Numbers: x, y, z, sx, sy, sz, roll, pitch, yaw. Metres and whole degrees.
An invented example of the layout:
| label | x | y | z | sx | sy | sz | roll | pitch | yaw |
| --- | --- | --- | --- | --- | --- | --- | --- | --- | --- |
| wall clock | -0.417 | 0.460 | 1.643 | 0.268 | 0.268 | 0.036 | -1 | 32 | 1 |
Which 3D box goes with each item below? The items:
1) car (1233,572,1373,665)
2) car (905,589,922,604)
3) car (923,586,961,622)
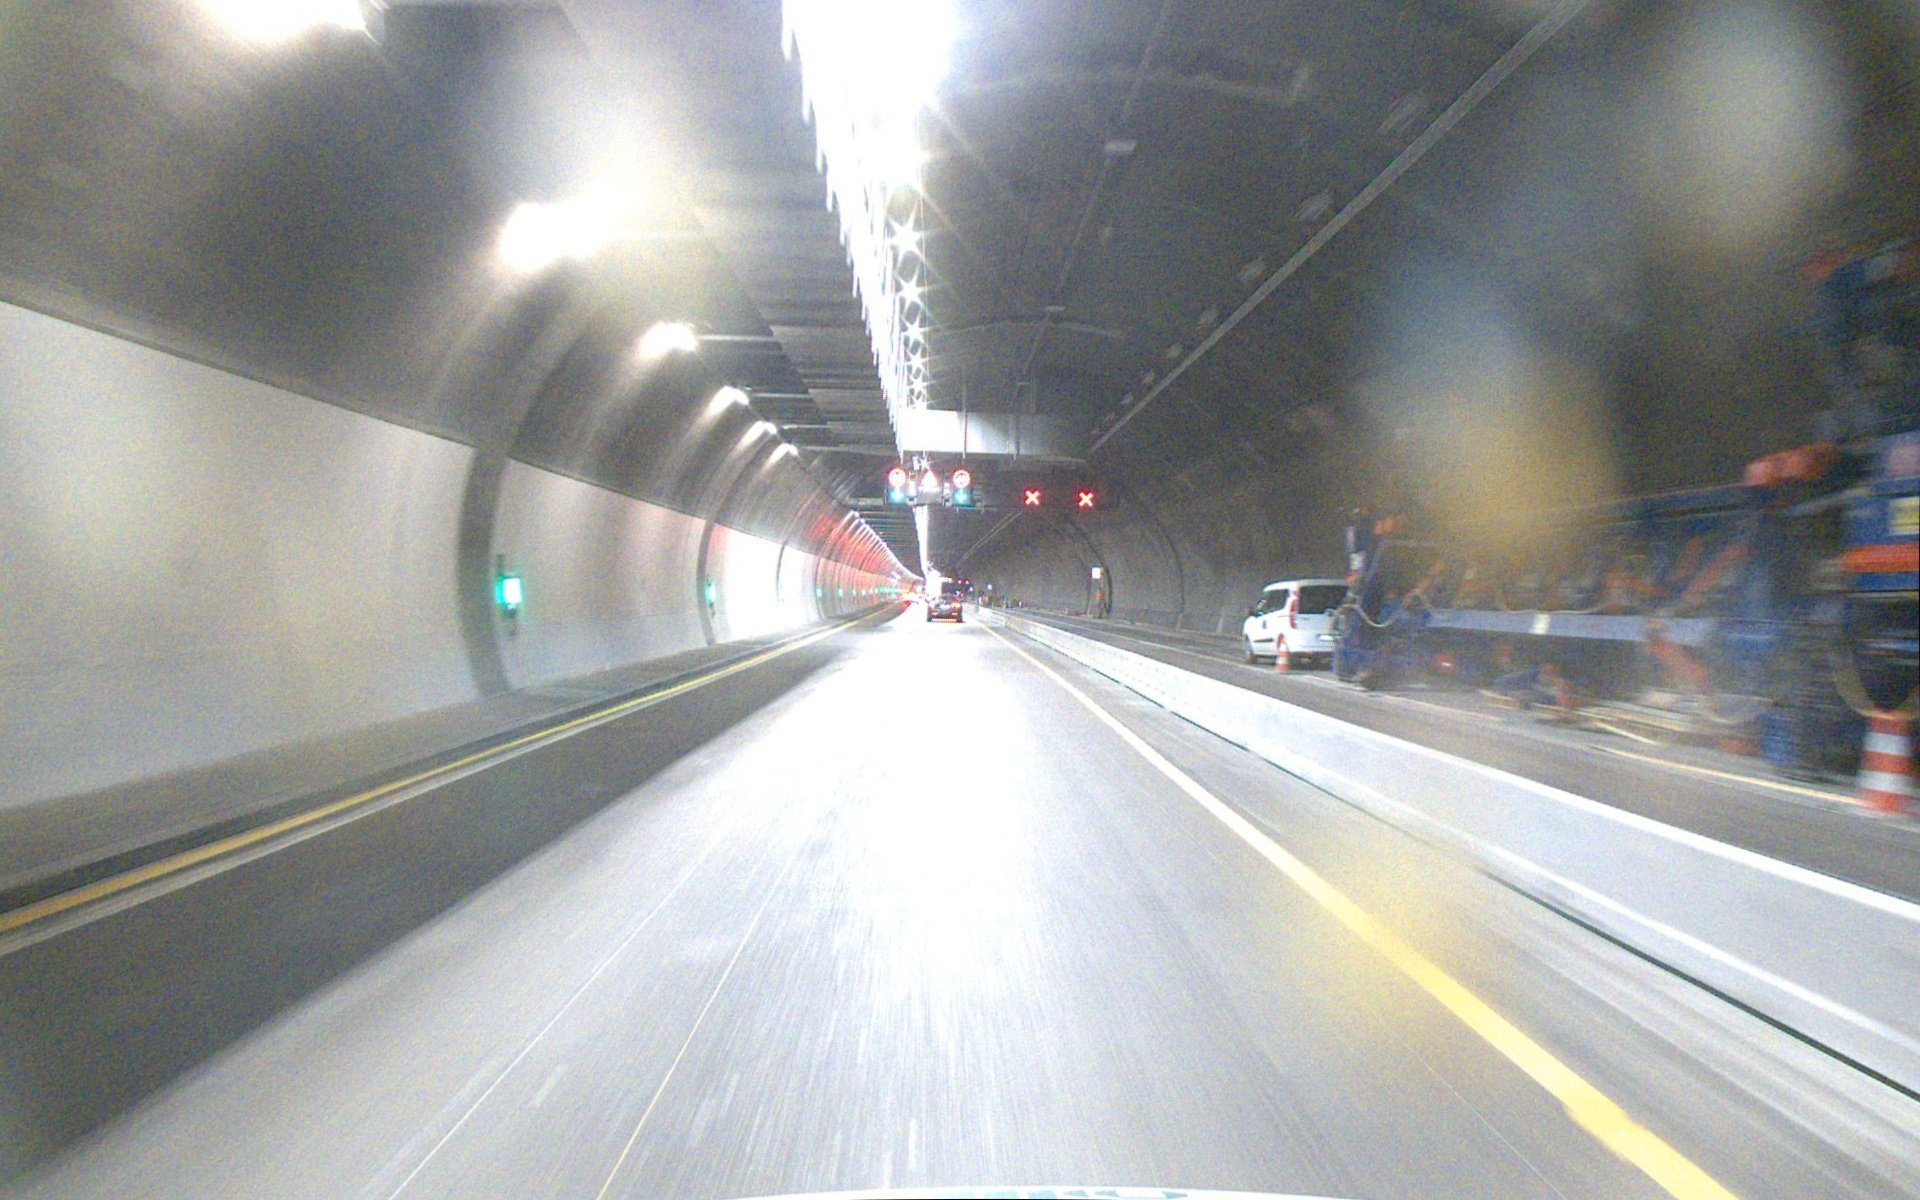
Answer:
| label | x | y | z | sx | sy | sz | roll | pitch | yaw |
| --- | --- | --- | --- | --- | --- | --- | --- | --- | --- |
| car | 7.412 | 0.352 | 36.206 | 1.717 | 1.877 | 4.641 | -1 | 1 | -5 |
| car | -5.340 | -0.380 | 190.591 | 1.891 | 1.716 | 4.000 | 0 | 1 | -1 |
| car | -0.968 | 0.182 | 85.917 | 1.907 | 1.826 | 3.999 | 0 | 1 | -1 |
